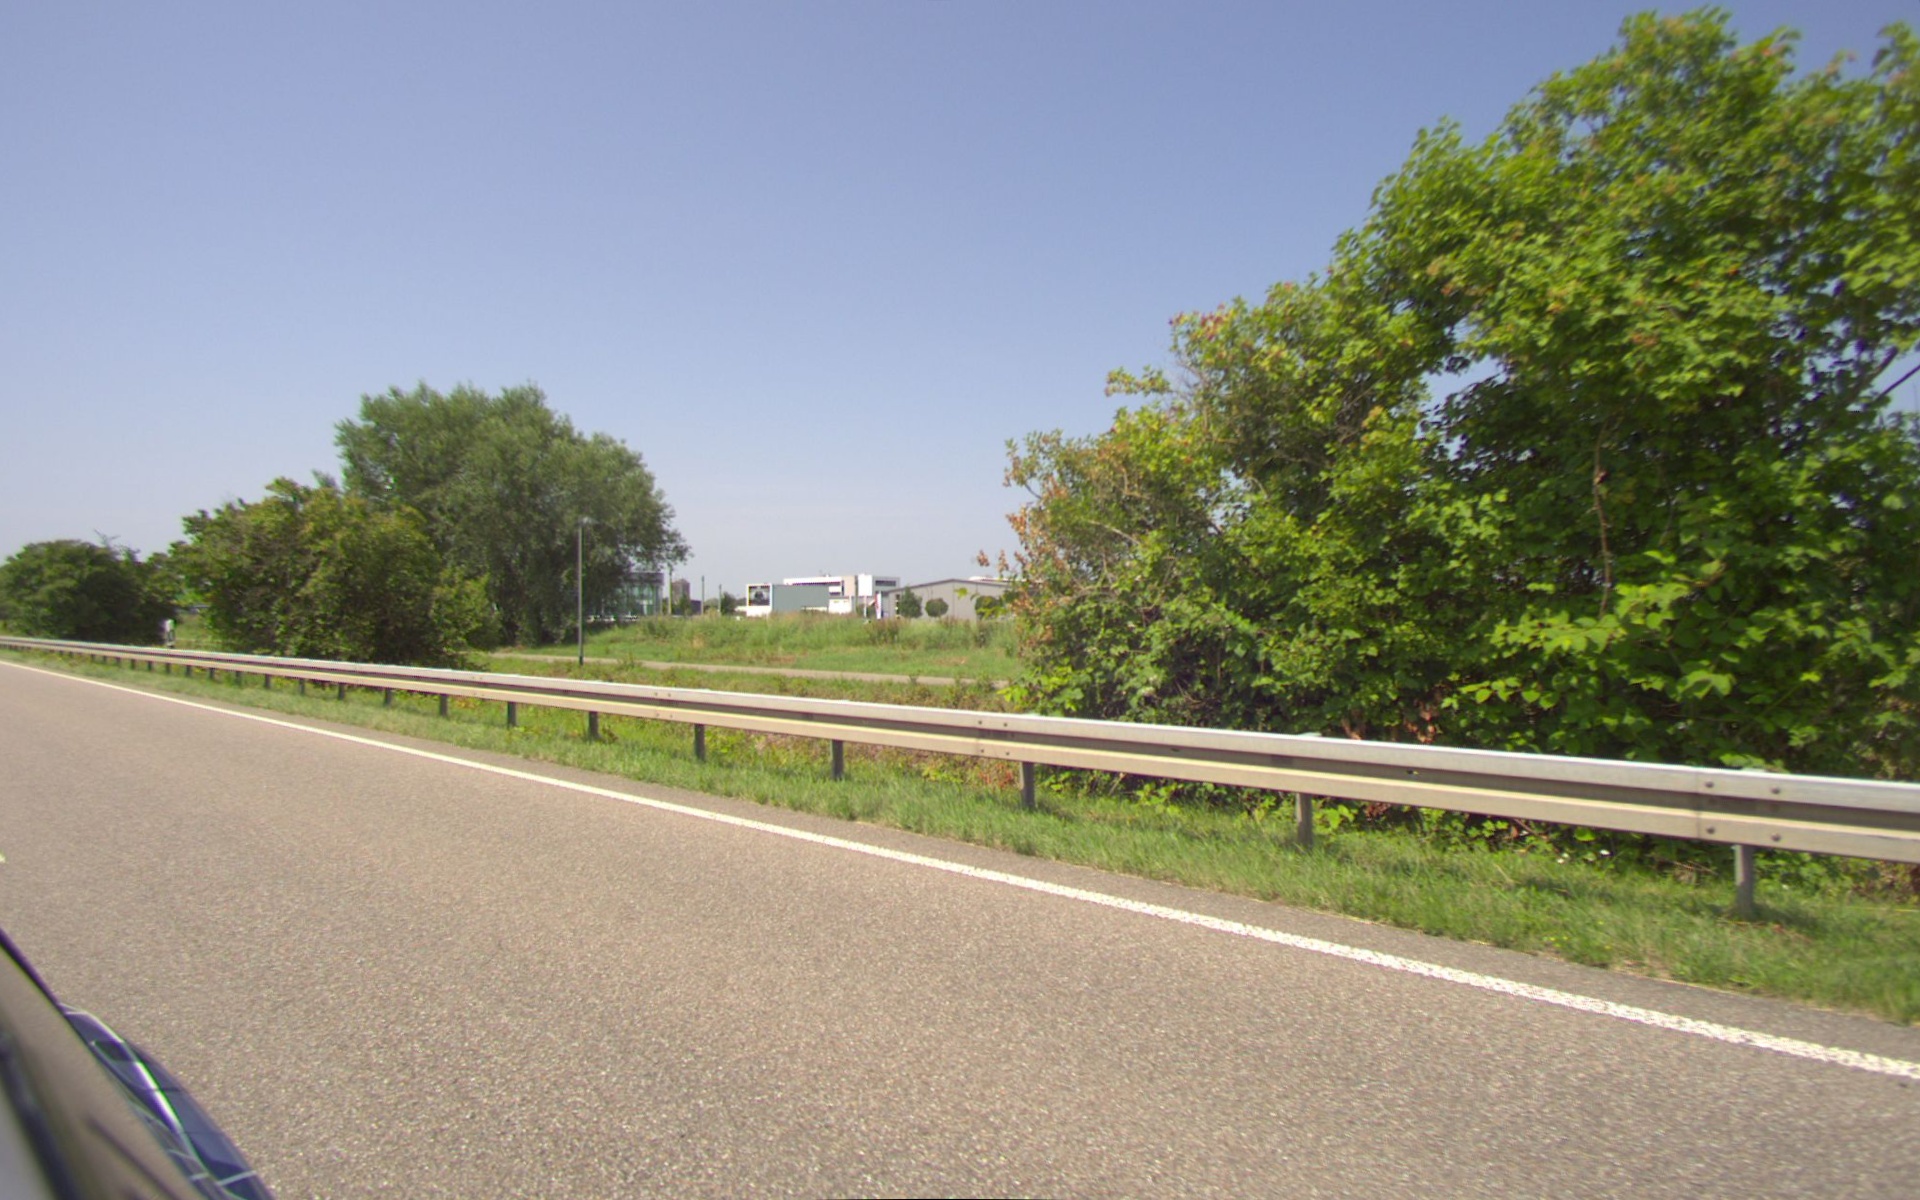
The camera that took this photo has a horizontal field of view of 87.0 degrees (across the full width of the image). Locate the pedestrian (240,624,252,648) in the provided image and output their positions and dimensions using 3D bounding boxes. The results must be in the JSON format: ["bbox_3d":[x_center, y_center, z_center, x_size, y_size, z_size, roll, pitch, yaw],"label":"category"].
[{"bbox_3d":[-53.248,2.680,75.490,0.572,1.763,0.821,3,-3,-45],"label":"pedestrian"}]
